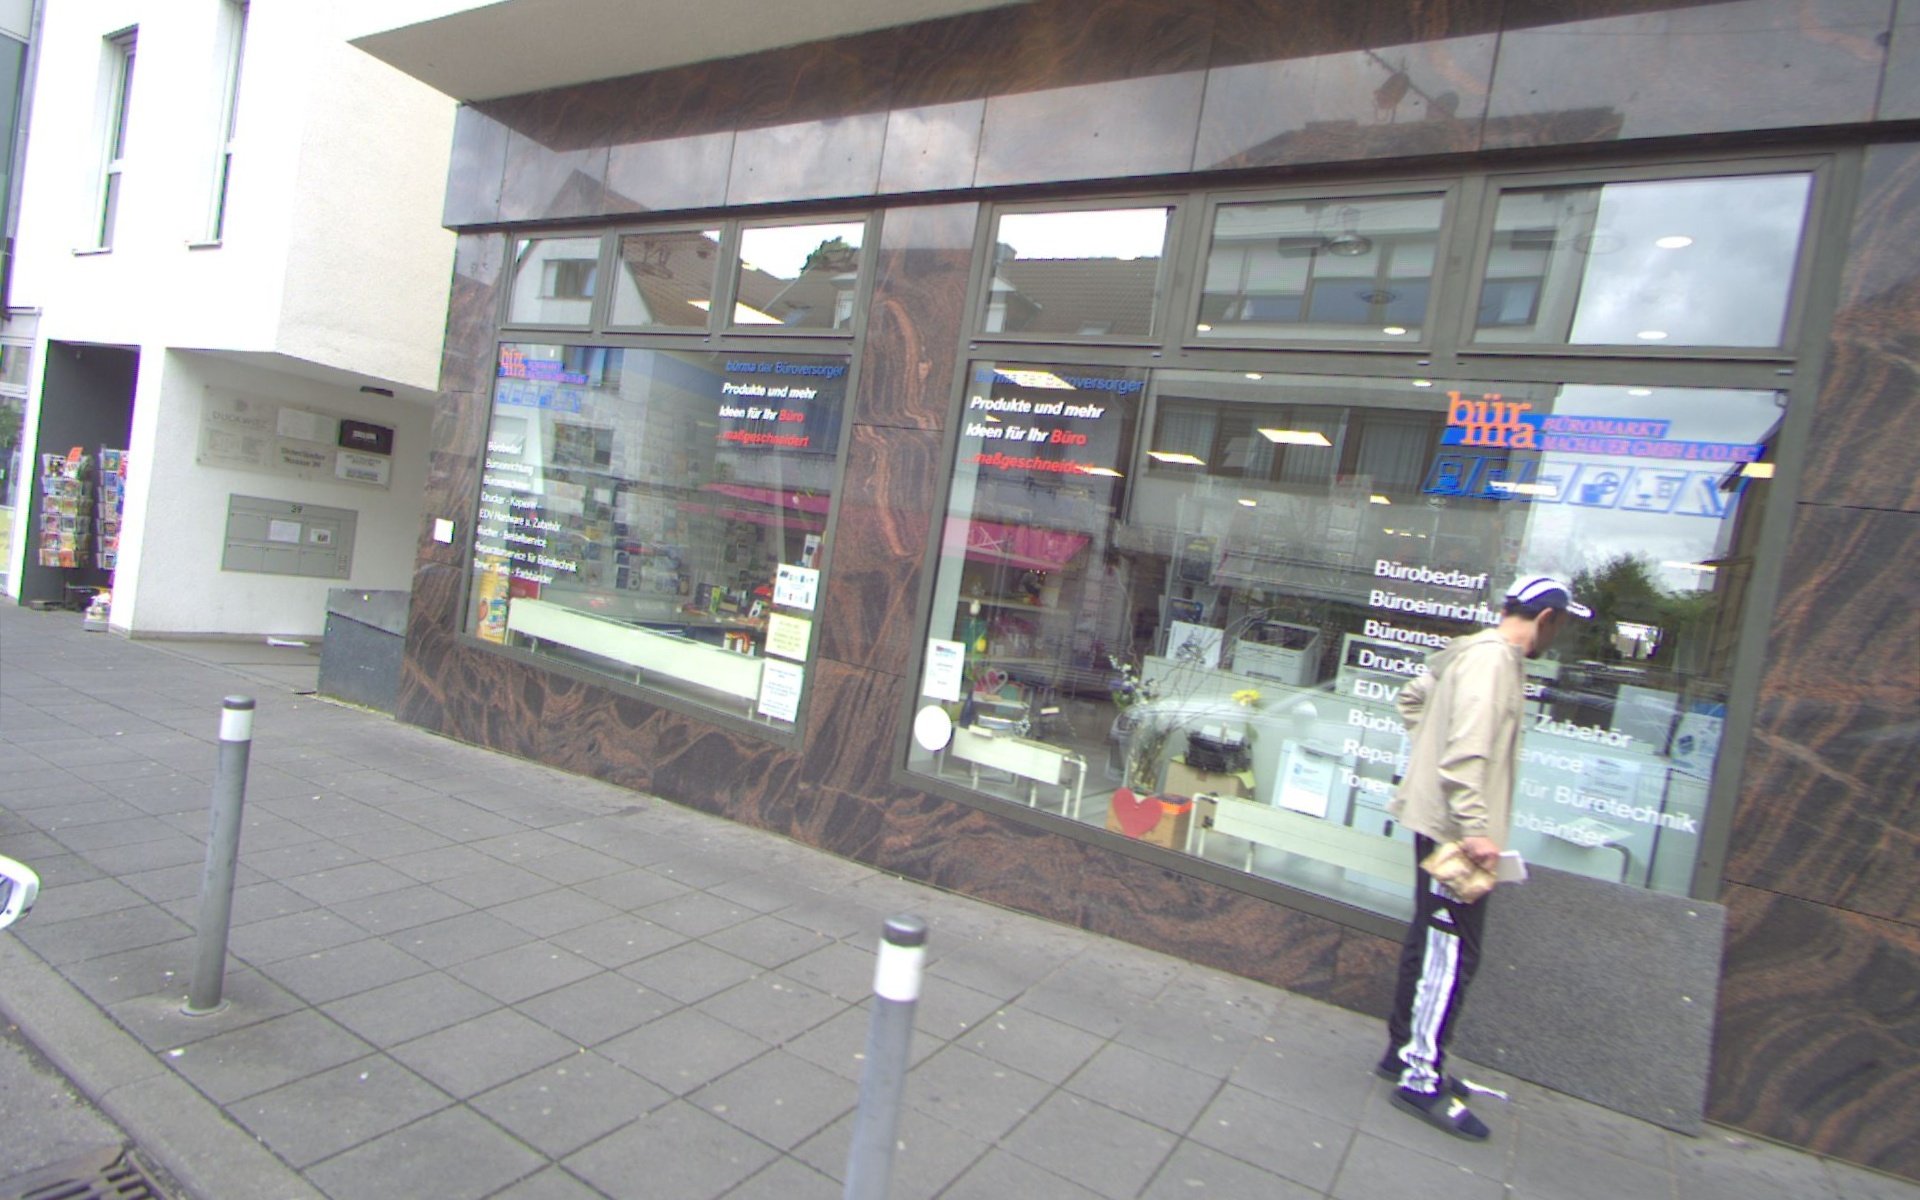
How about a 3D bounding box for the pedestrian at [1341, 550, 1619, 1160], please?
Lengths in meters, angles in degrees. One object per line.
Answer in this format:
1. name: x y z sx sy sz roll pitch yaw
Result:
1. pedestrian: 1.641 0.729 3.245 0.533 1.713 0.663 7 4 26
